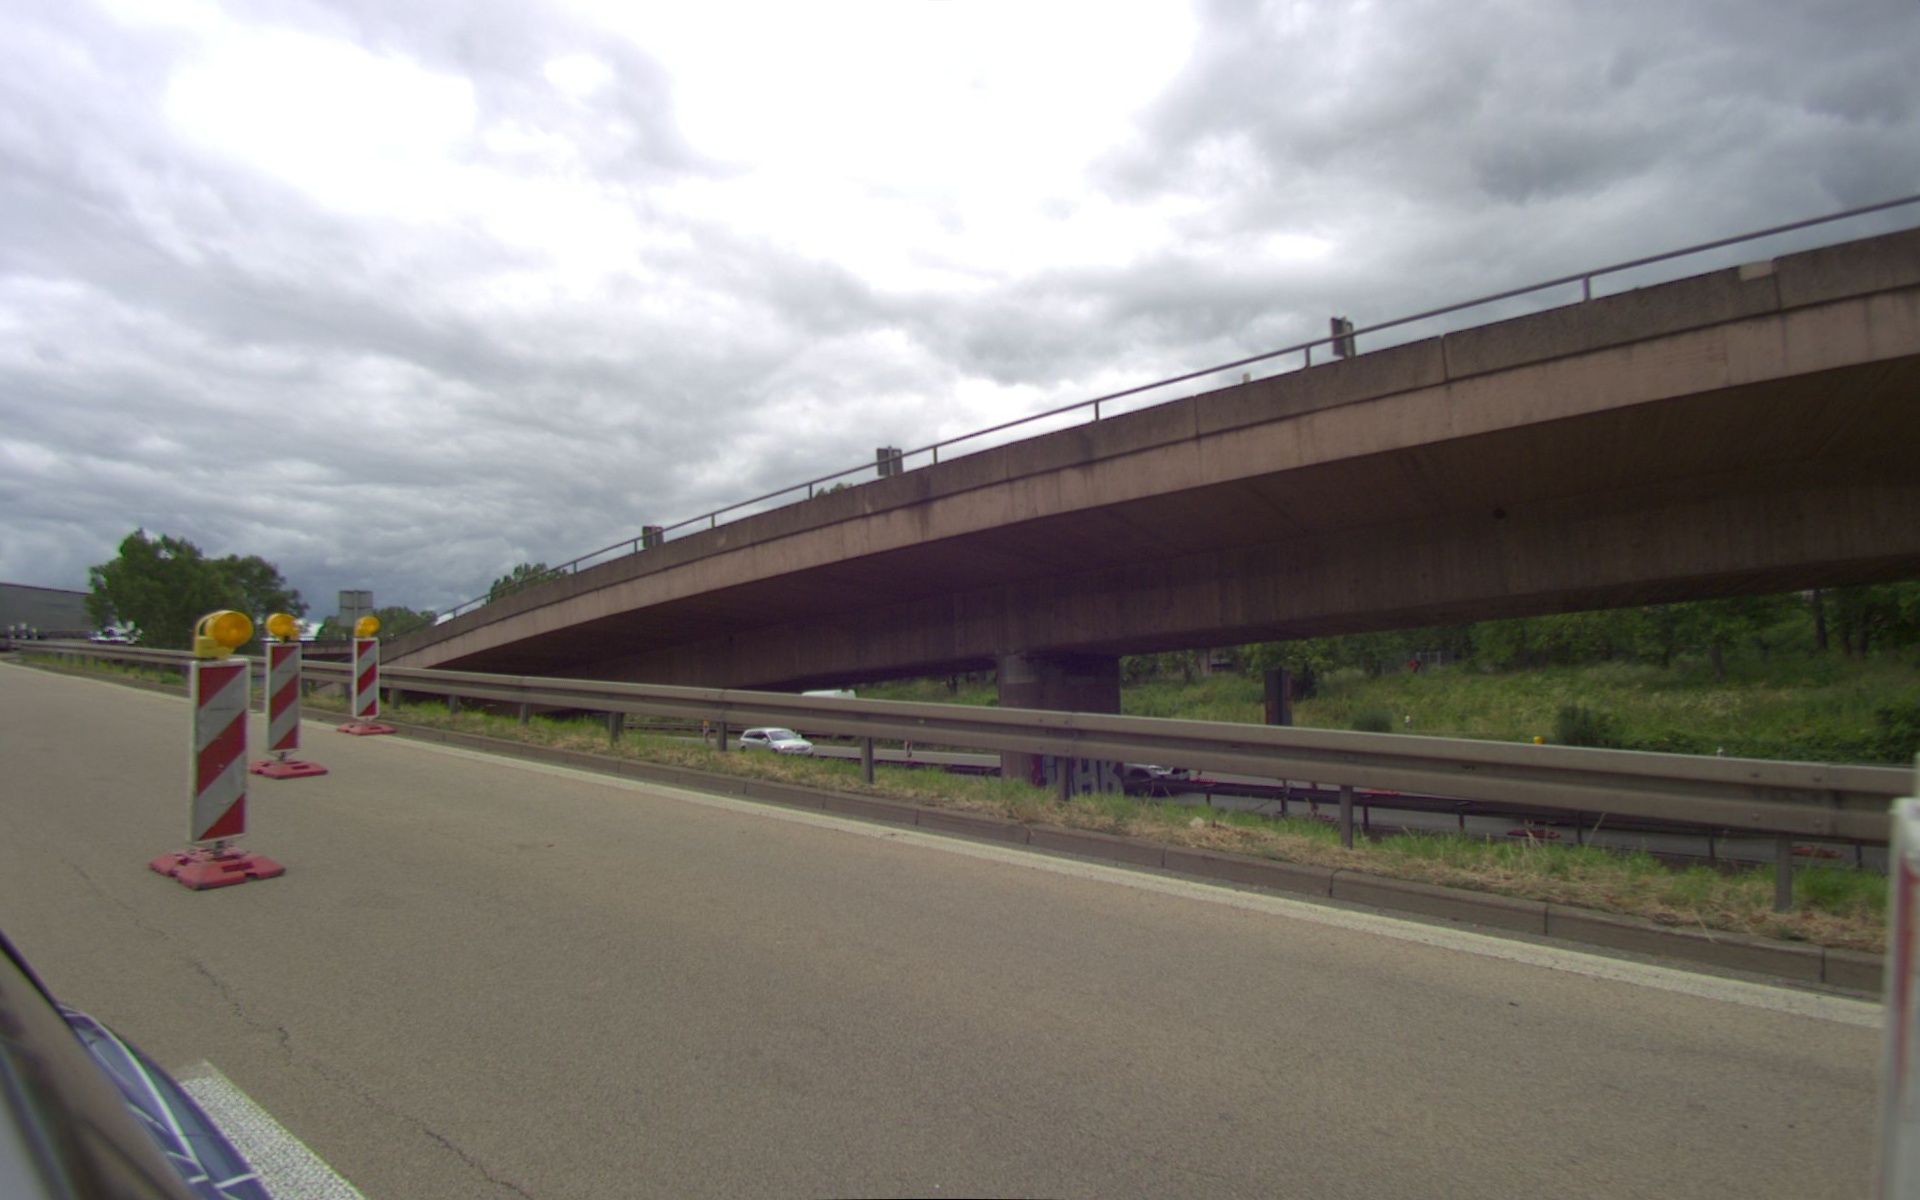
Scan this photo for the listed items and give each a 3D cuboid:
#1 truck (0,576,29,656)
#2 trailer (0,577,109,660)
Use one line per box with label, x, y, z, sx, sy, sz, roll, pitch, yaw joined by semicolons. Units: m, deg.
truck;-54.933;0.889;55.330;4.095;4.336;5.984;-1;-4;-22
trailer;-57.979;1.374;62.557;4.057;4.277;13.934;-1;-4;-22
